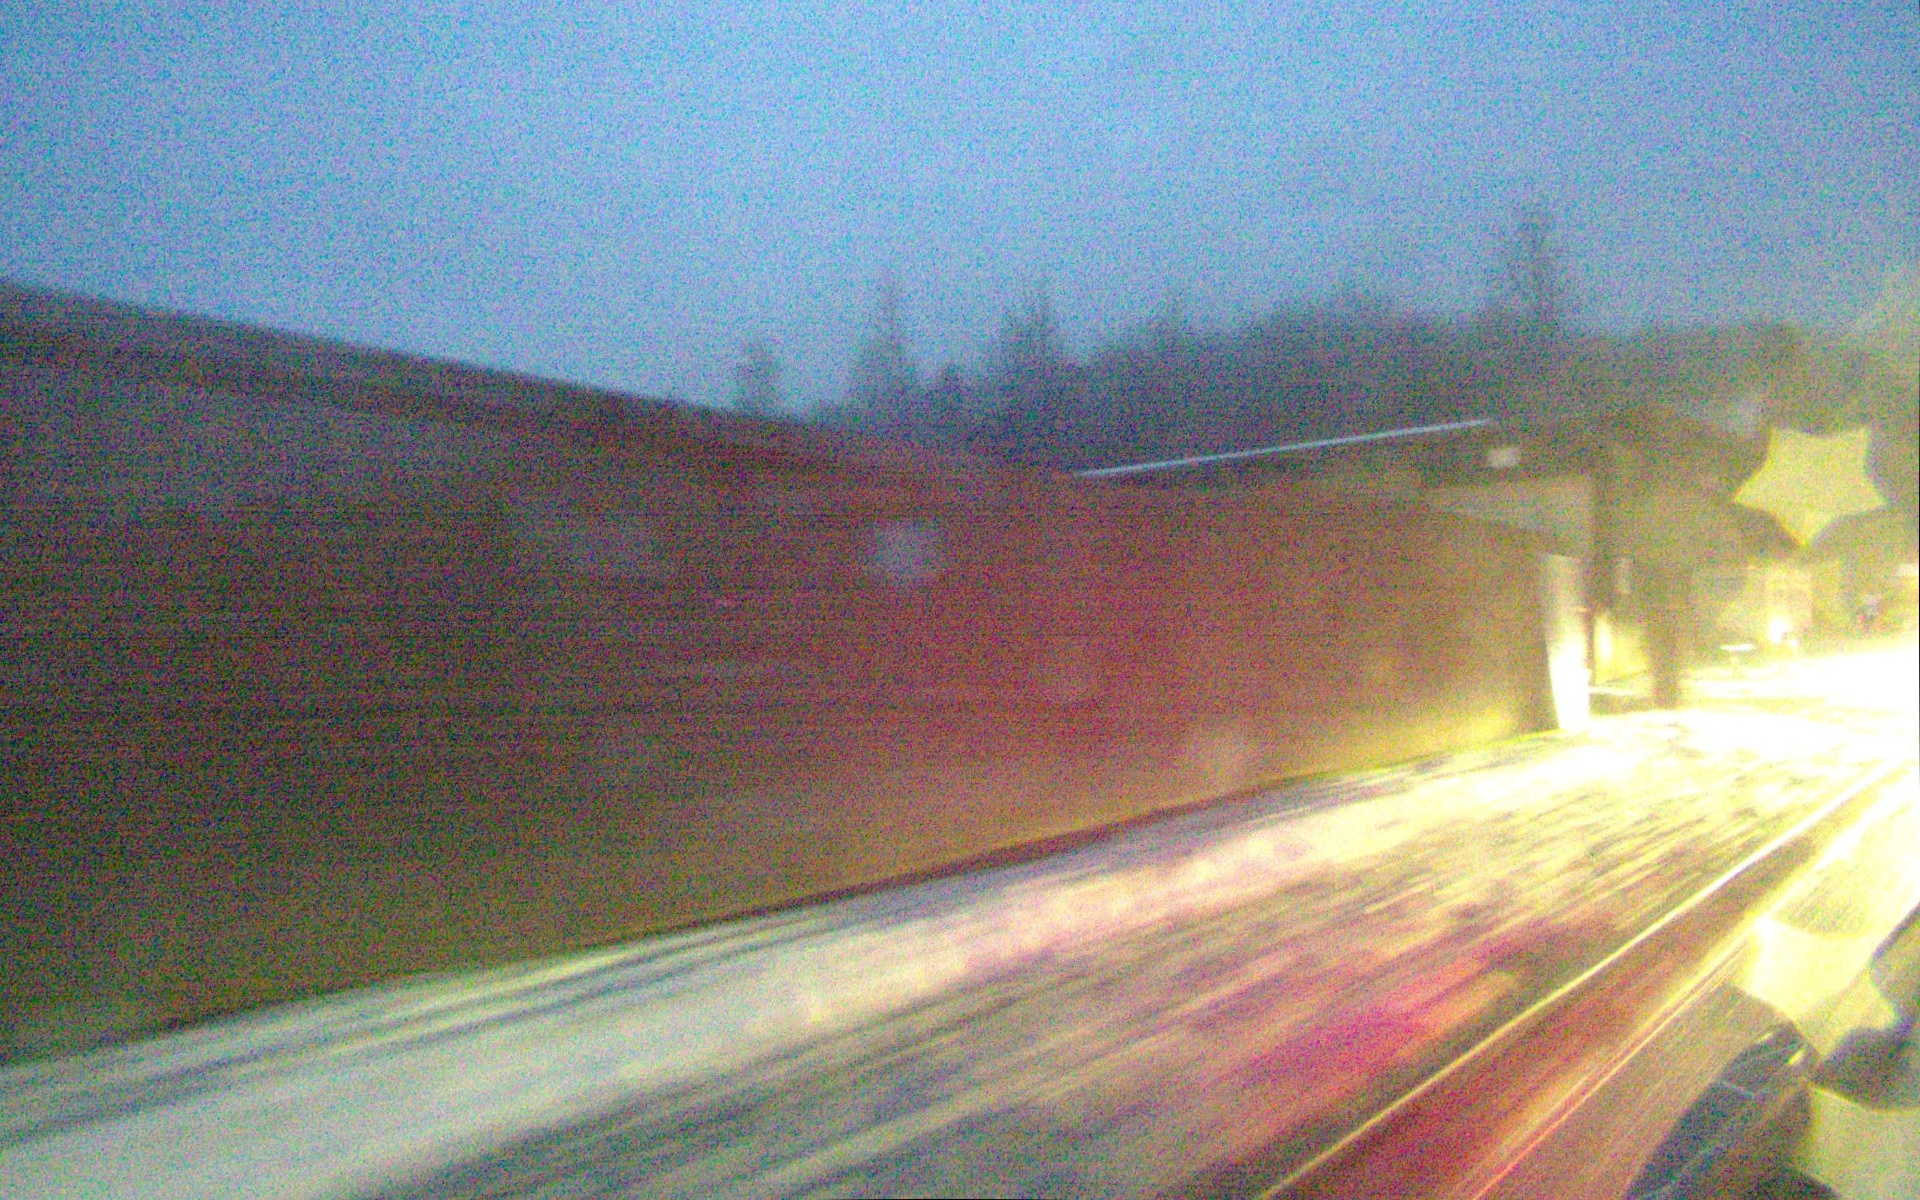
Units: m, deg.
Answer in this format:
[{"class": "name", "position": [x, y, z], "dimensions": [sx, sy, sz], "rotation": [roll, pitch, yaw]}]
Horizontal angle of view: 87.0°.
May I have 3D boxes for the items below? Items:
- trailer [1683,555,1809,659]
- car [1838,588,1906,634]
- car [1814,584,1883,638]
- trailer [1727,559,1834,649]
[{"class": "trailer", "position": [20.019, 0.157, 25.691], "dimensions": [4.574, 2.395, 1.631], "rotation": [-1, -3, -42]}, {"class": "car", "position": [39.492, 0.440, 43.805], "dimensions": [4.088, 1.833, 1.879], "rotation": [-1, -1, -44]}, {"class": "car", "position": [36.026, 0.419, 41.006], "dimensions": [1.877, 2.066, 4.322], "rotation": [-3, -1, 43]}, {"class": "trailer", "position": [23.749, 0.102, 29.247], "dimensions": [4.355, 2.383, 1.607], "rotation": [-1, -3, -42]}]
